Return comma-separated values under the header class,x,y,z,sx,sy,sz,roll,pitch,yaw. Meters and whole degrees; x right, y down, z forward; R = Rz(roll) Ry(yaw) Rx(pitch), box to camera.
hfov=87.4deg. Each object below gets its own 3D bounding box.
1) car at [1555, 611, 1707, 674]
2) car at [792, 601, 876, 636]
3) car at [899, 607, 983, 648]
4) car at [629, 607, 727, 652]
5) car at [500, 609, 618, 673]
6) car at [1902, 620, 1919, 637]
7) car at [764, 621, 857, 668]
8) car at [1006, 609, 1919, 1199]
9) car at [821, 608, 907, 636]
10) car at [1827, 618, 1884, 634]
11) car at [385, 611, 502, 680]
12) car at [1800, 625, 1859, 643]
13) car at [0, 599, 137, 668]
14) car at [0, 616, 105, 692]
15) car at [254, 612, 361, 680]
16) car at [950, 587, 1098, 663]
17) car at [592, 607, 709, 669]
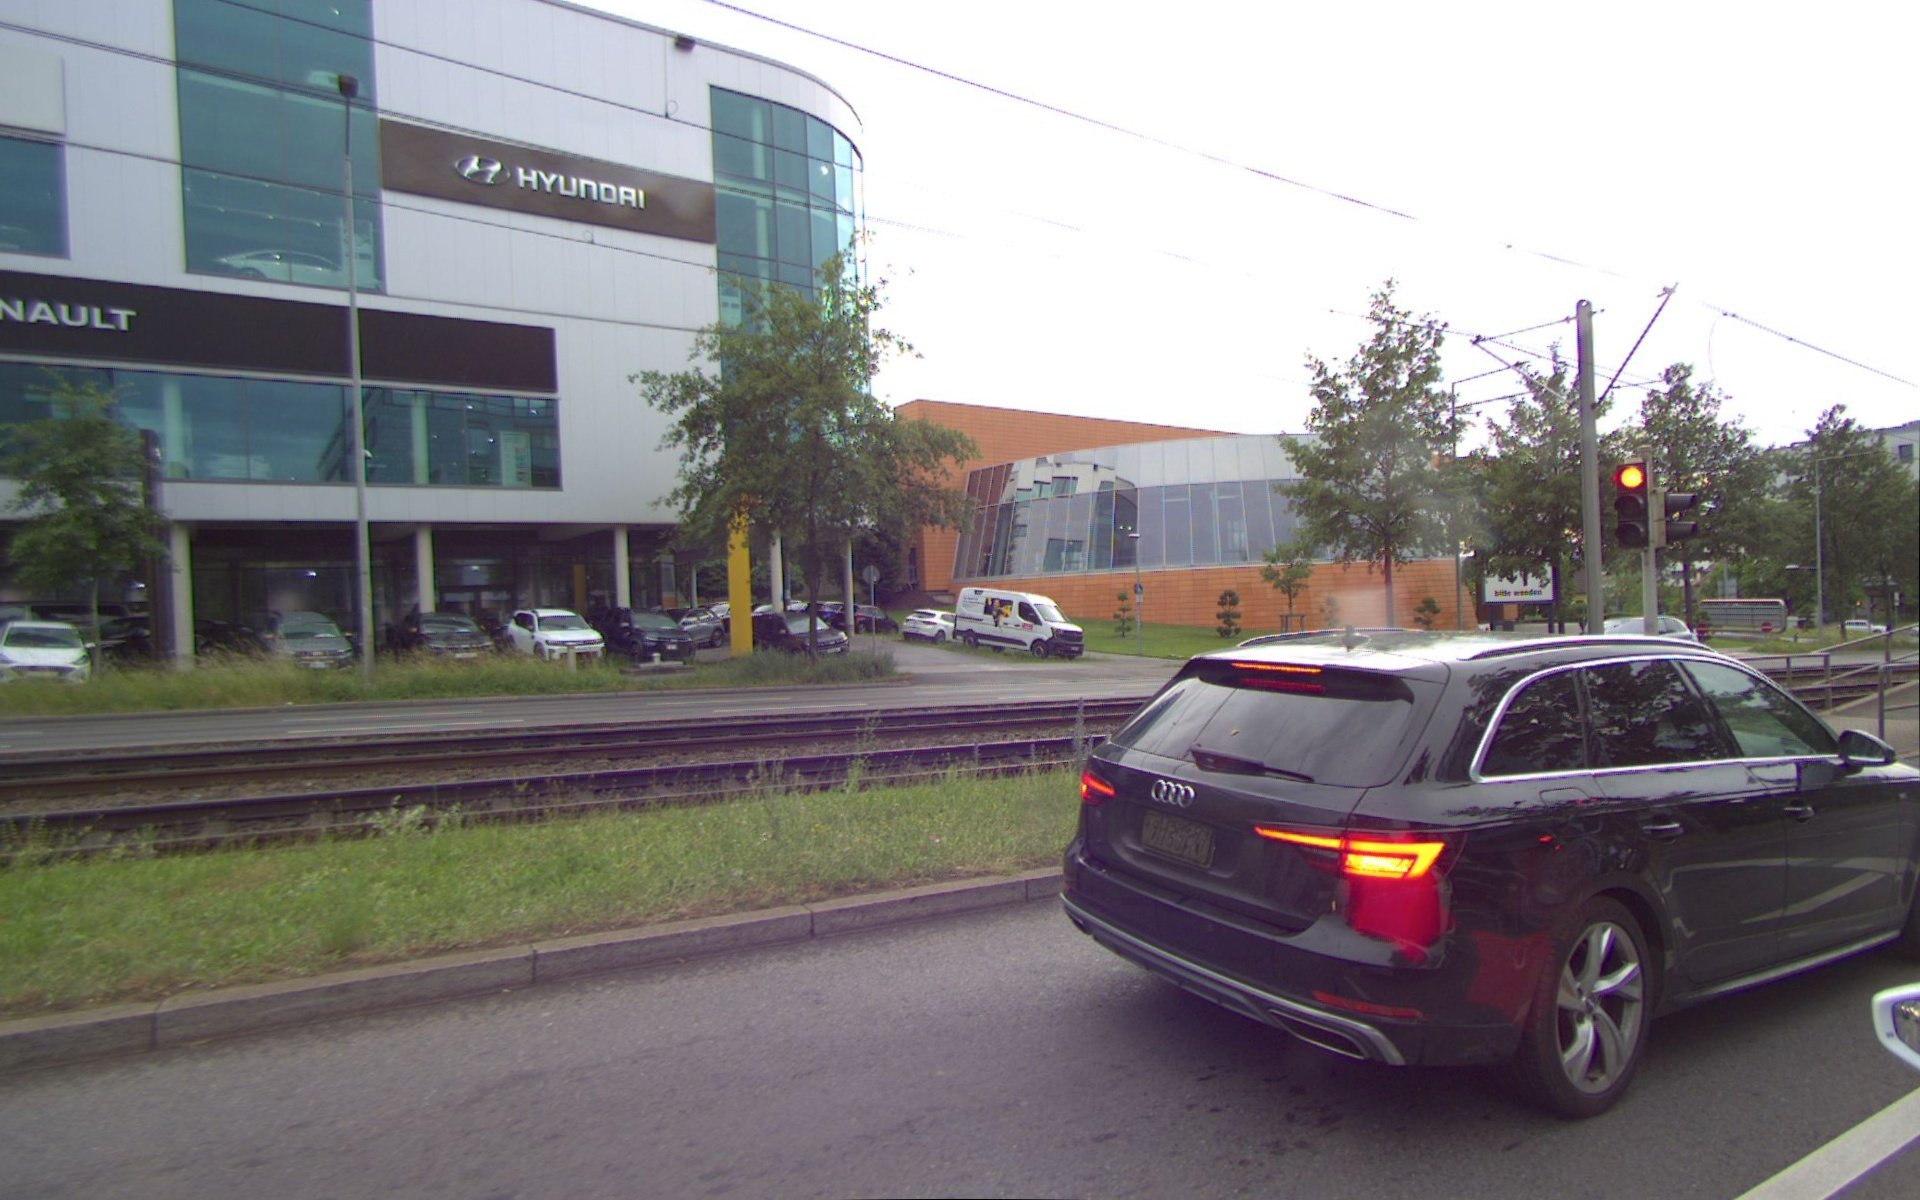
class,x,y,z,sx,sy,sz,roll,pitch,yaw
car,20.042,1.246,29.954,4.787,1.742,1.983,1,-3,-32
car,-6.302,0.915,50.598,1.970,1.653,3.982,0,-1,39
car,-0.777,1.157,43.676,1.703,1.688,3.734,0,0,38
car,-10.275,1.055,36.863,1.691,1.572,3.587,0,-1,20
car,-11.946,1.136,29.770,1.984,1.571,4.324,1,2,-40
car,87.979,2.544,90.736,1.636,1.455,3.850,1,-3,-30
car,-4.998,1.427,33.220,1.565,1.409,3.619,0,0,-36
car,2.542,0.801,4.356,4.461,1.486,1.772,1,-1,-31
car,-4.647,1.065,49.028,1.970,1.297,3.982,0,-1,39
car,87.000,2.534,97.625,1.645,1.455,4.050,2,-4,-44
car,-14.404,1.179,27.917,1.984,1.571,4.324,1,2,-40
car,68.919,2.679,79.647,1.408,1.405,3.371,0,0,-13
car,-25.789,0.885,27.594,1.962,1.806,4.544,0,-1,23
car,-21.692,1.217,23.952,1.906,1.479,3.999,1,2,-40
car,-17.315,1.147,26.592,1.917,1.479,3.974,1,2,-40
car,2.440,0.903,39.624,5.544,2.616,2.392,3,1,43
car,-9.727,1.128,31.386,1.984,1.637,4.324,1,2,-40
